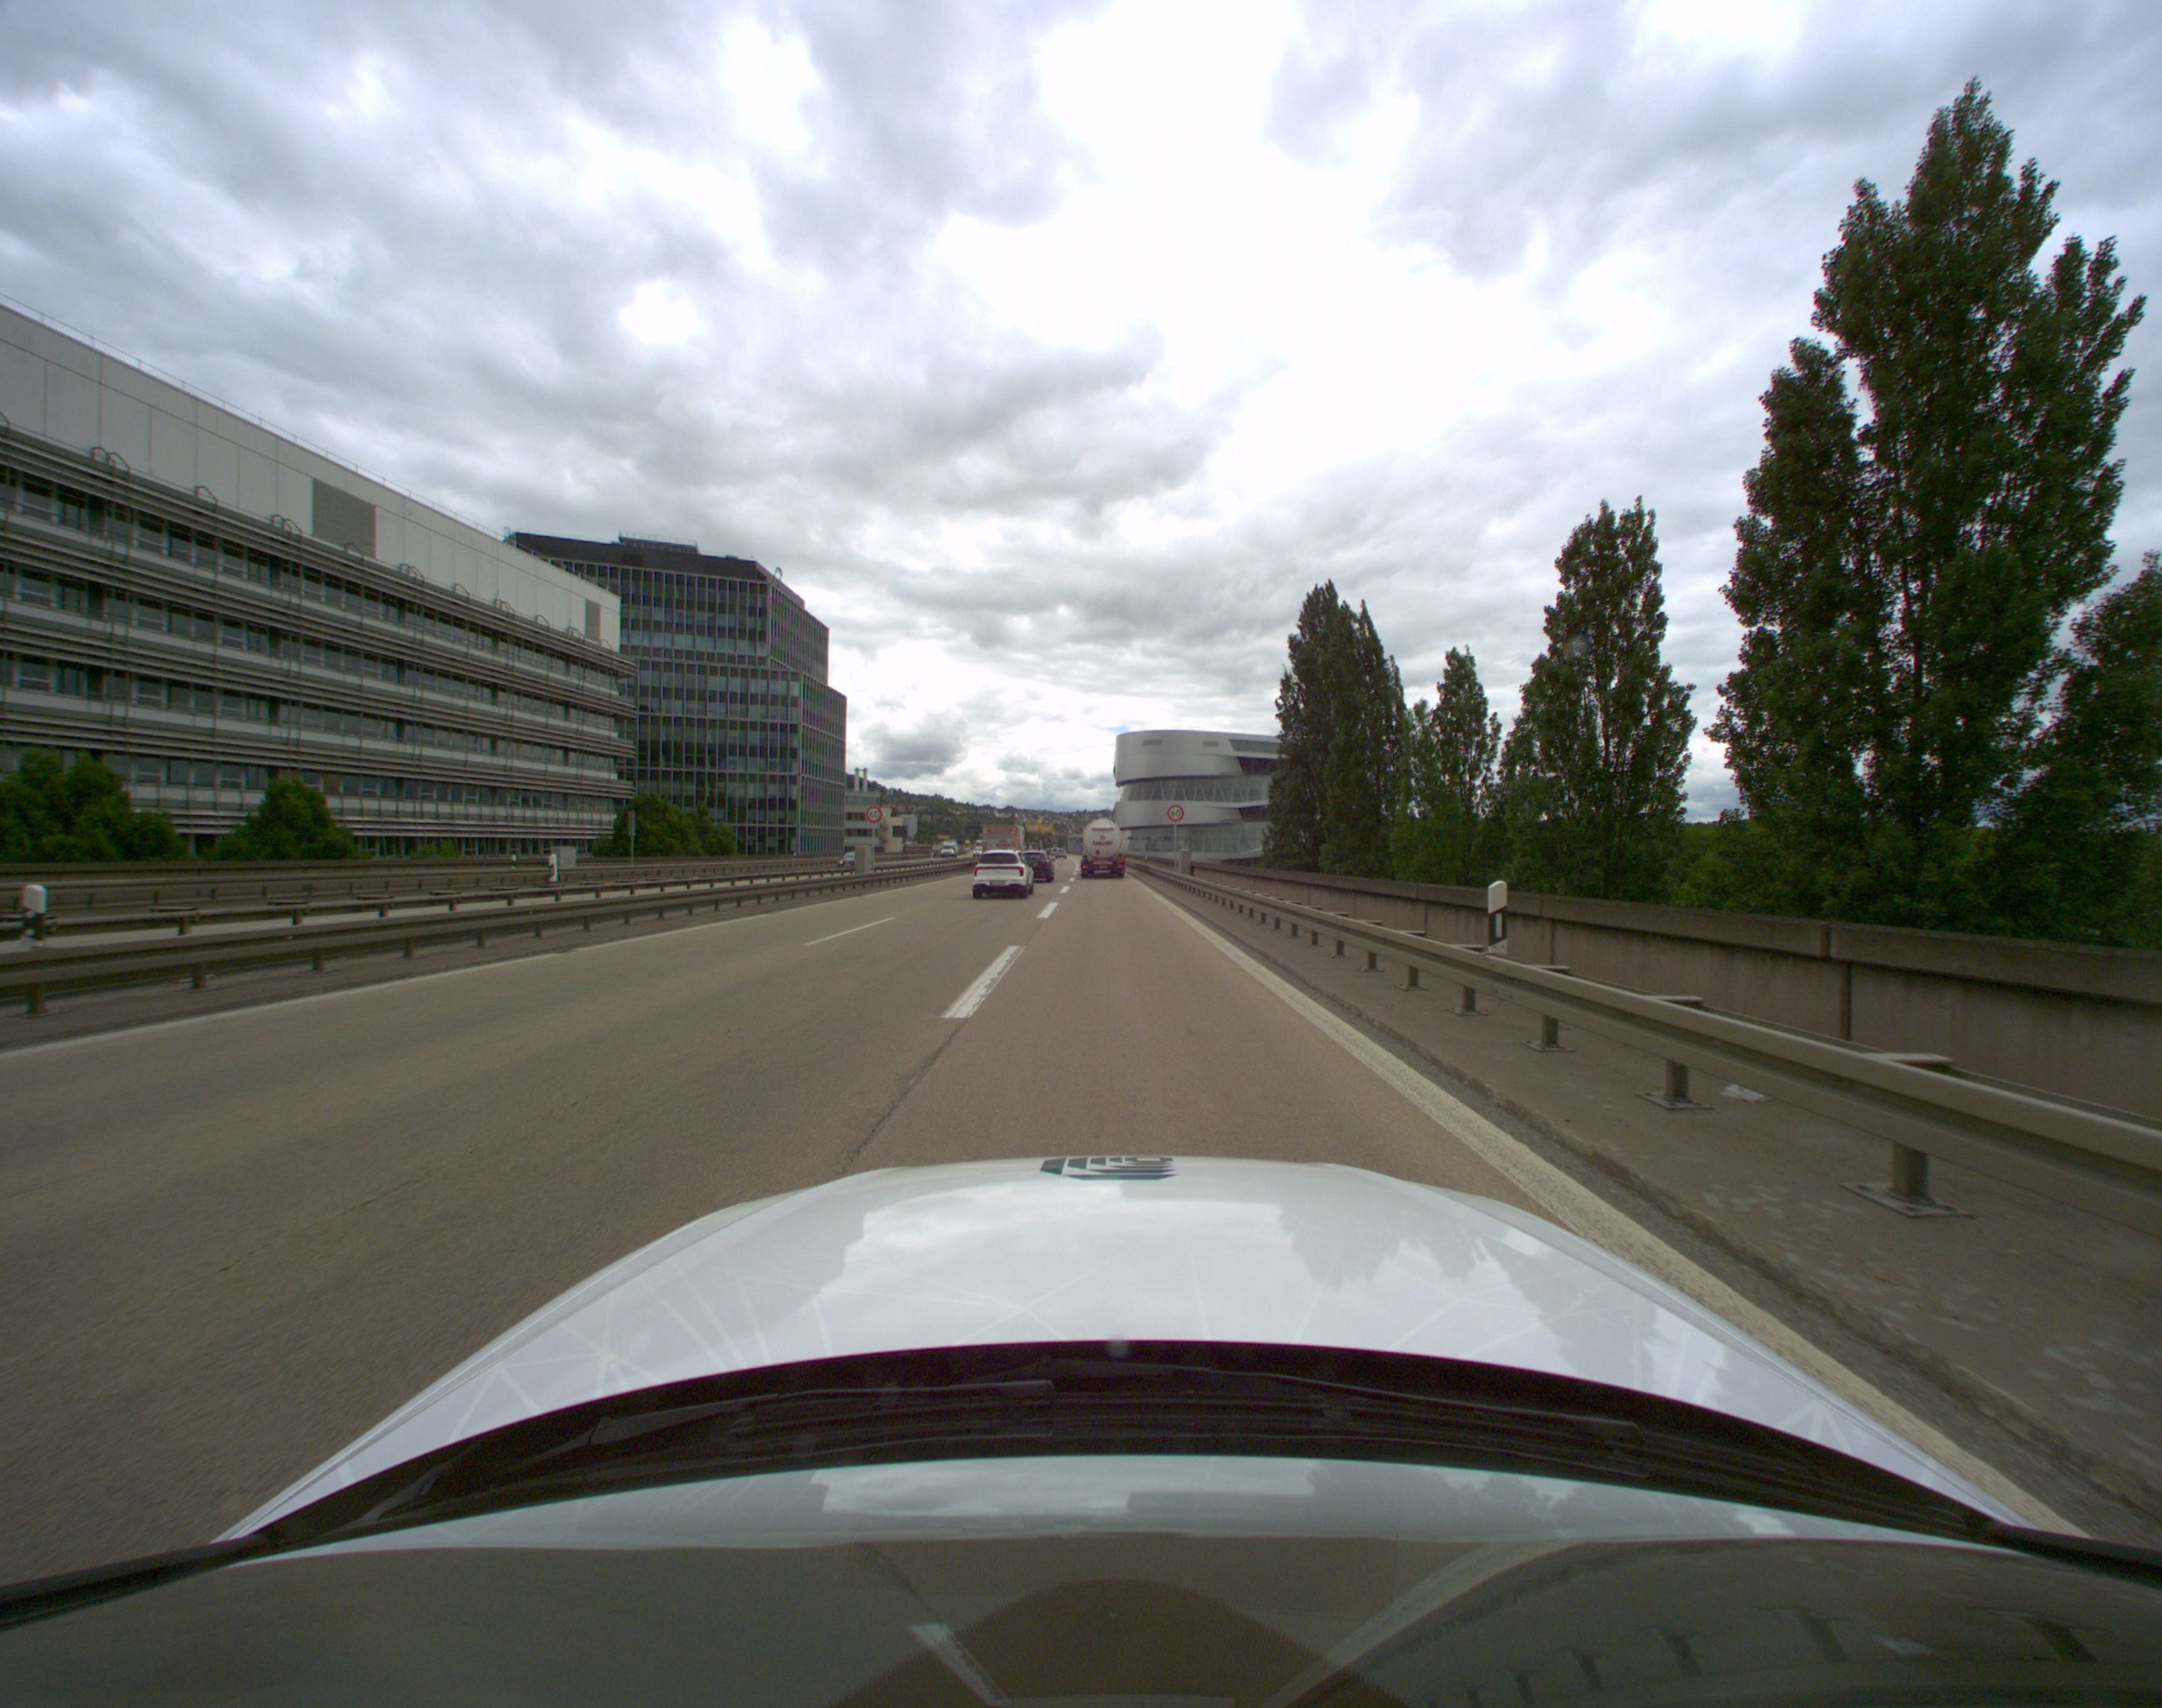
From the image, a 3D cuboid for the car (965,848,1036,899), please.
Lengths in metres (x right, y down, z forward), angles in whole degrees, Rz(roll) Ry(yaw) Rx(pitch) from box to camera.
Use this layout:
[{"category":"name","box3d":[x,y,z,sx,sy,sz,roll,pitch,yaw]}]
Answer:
[{"category":"car","box3d":[-2.789,0.645,29.184,1.986,1.675,4.409,0,0,1]}]

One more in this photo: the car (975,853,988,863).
[{"category":"car","box3d":[-17.375,0.645,142.271,1.677,1.650,4.313,1,0,1]}]

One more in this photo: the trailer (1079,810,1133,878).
[{"category":"trailer","box3d":[1.493,-0.529,49.952,3.046,3.790,8.305,0,0,1]}]

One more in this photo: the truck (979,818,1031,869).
[{"category":"truck","box3d":[-5.762,-0.748,62.923,3.046,3.690,8.305,0,0,1]}]

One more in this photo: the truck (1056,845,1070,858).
[{"category":"truck","box3d":[-2.979,-0.461,136.848,2.248,2.164,5.068,0,0,0]}]

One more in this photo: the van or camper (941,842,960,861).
[{"category":"van or camper","box3d":[-21.401,-0.407,133.920,2.165,3.008,7.114,0,0,-1]}]

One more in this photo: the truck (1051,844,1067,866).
[{"category":"truck","box3d":[-4.762,0.176,175.191,3.051,4.562,8.290,0,0,-4]}]

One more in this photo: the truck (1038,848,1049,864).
[{"category":"truck","box3d":[-11.220,0.652,243.203,3.051,4.562,8.290,0,0,-4]}]

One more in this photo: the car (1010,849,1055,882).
[{"category":"car","box3d":[-2.486,0.587,42.732,1.986,1.675,4.409,0,0,1]}]

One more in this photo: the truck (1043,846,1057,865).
[{"category":"truck","box3d":[-7.569,0.350,199.550,3.051,4.562,8.290,0,0,-4]}]

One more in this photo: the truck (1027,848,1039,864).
[{"category":"truck","box3d":[-13.336,0.547,225.412,3.051,4.562,8.290,0,0,-4]}]

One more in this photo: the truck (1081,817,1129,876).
[{"category":"truck","box3d":[1.616,-0.441,53.995,3.003,3.657,6.276,0,0,2]}]

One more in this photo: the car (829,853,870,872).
[{"category":"car","box3d":[-17.235,0.643,60.807,1.780,1.377,4.230,1,0,1]}]
